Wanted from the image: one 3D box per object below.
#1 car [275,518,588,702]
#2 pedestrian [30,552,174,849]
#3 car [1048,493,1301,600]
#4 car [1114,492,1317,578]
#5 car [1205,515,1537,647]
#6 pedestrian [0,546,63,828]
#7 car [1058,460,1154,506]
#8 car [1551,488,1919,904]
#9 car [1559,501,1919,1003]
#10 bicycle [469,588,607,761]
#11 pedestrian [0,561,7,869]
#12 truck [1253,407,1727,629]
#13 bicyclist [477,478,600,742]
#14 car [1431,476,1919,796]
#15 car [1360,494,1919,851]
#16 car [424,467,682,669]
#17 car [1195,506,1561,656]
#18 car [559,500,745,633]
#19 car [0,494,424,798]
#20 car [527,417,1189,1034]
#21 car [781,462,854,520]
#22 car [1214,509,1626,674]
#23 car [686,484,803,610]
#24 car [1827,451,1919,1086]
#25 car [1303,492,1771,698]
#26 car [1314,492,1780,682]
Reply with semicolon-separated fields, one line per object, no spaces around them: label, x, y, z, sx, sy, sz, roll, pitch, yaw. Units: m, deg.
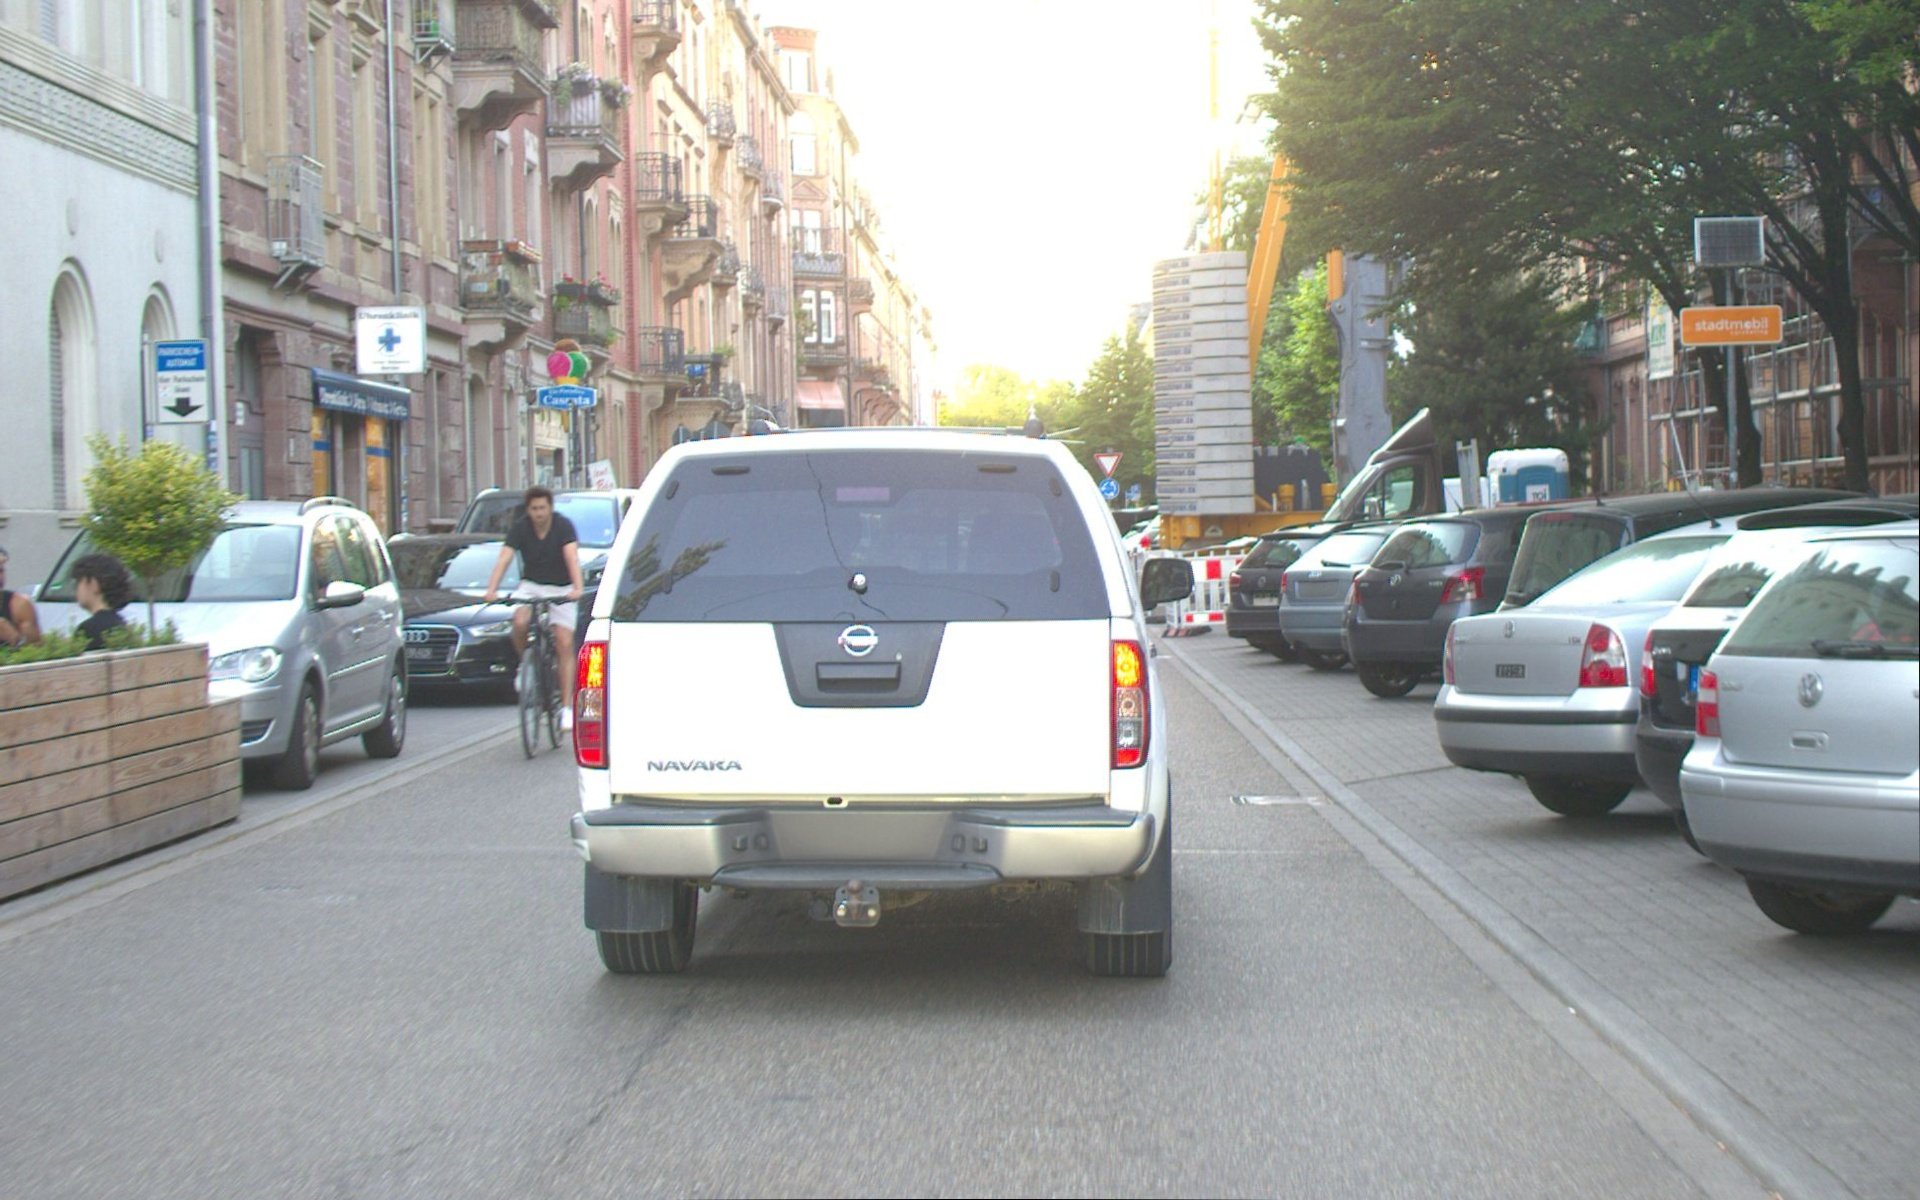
car;-4.443;0.026;29.551;1.911;1.467;4.534;0;1;1
pedestrian;-3.985;0.453;15.993;0.484;1.345;0.669;0;1;0
car;3.676;-0.918;58.596;4.196;1.774;1.819;0;1;7
car;5.349;-1.369;72.154;4.196;1.774;1.819;0;1;4
car;4.767;-0.246;39.795;3.548;1.459;1.612;-1;2;-29
pedestrian;-4.688;0.414;16.696;0.516;1.345;0.540;0;1;-1
car;7.085;-5.683;166.981;4.588;2.170;1.819;0;1;4
car;4.391;0.295;14.199;3.593;1.529;1.563;-2;2;-26
car;4.043;0.387;11.712;3.593;1.477;1.723;-2;2;-26
bicycle;-2.755;0.468;22.578;0.614;1.036;1.904;-1;1;1
pedestrian;-4.439;0.504;14.501;0.609;1.320;0.770;0;1;0
truck;7.295;-1.105;47.908;6.321;2.966;2.264;0;-1;3
bicyclist;-2.756;0.049;22.571;0.603;1.679;1.142;-1;1;2
car;4.921;0.128;19.709;3.986;1.631;1.759;-3;2;-18
car;4.328;0.256;16.749;4.371;1.529;1.808;-2;1;-23
car;-4.086;-0.366;35.303;1.905;1.919;4.947;0;1;2
car;4.525;-0.240;36.946;3.882;1.525;1.637;-1;2;-38
car;-4.041;-0.481;45.747;1.905;1.657;4.068;-1;1;3
car;-4.555;0.199;20.419;1.993;1.586;4.314;-1;1;1
car;-0.183;0.301;12.343;1.933;1.788;4.622;0;2;3
car;-3.820;-2.938;92.774;1.710;1.525;4.000;0;1;1
car;4.613;-0.117;34.327;3.825;1.432;1.762;-3;3;-33
car;-3.410;-0.865;54.889;1.559;1.914;3.856;1;1;1
car;4.195;0.366;8.951;3.594;1.575;1.716;-2;2;-31
car;4.755;-0.084;28.296;3.396;1.469;1.775;-4;3;-29
car;5.373;-0.138;31.489;3.824;1.525;1.763;-3;1;-24
